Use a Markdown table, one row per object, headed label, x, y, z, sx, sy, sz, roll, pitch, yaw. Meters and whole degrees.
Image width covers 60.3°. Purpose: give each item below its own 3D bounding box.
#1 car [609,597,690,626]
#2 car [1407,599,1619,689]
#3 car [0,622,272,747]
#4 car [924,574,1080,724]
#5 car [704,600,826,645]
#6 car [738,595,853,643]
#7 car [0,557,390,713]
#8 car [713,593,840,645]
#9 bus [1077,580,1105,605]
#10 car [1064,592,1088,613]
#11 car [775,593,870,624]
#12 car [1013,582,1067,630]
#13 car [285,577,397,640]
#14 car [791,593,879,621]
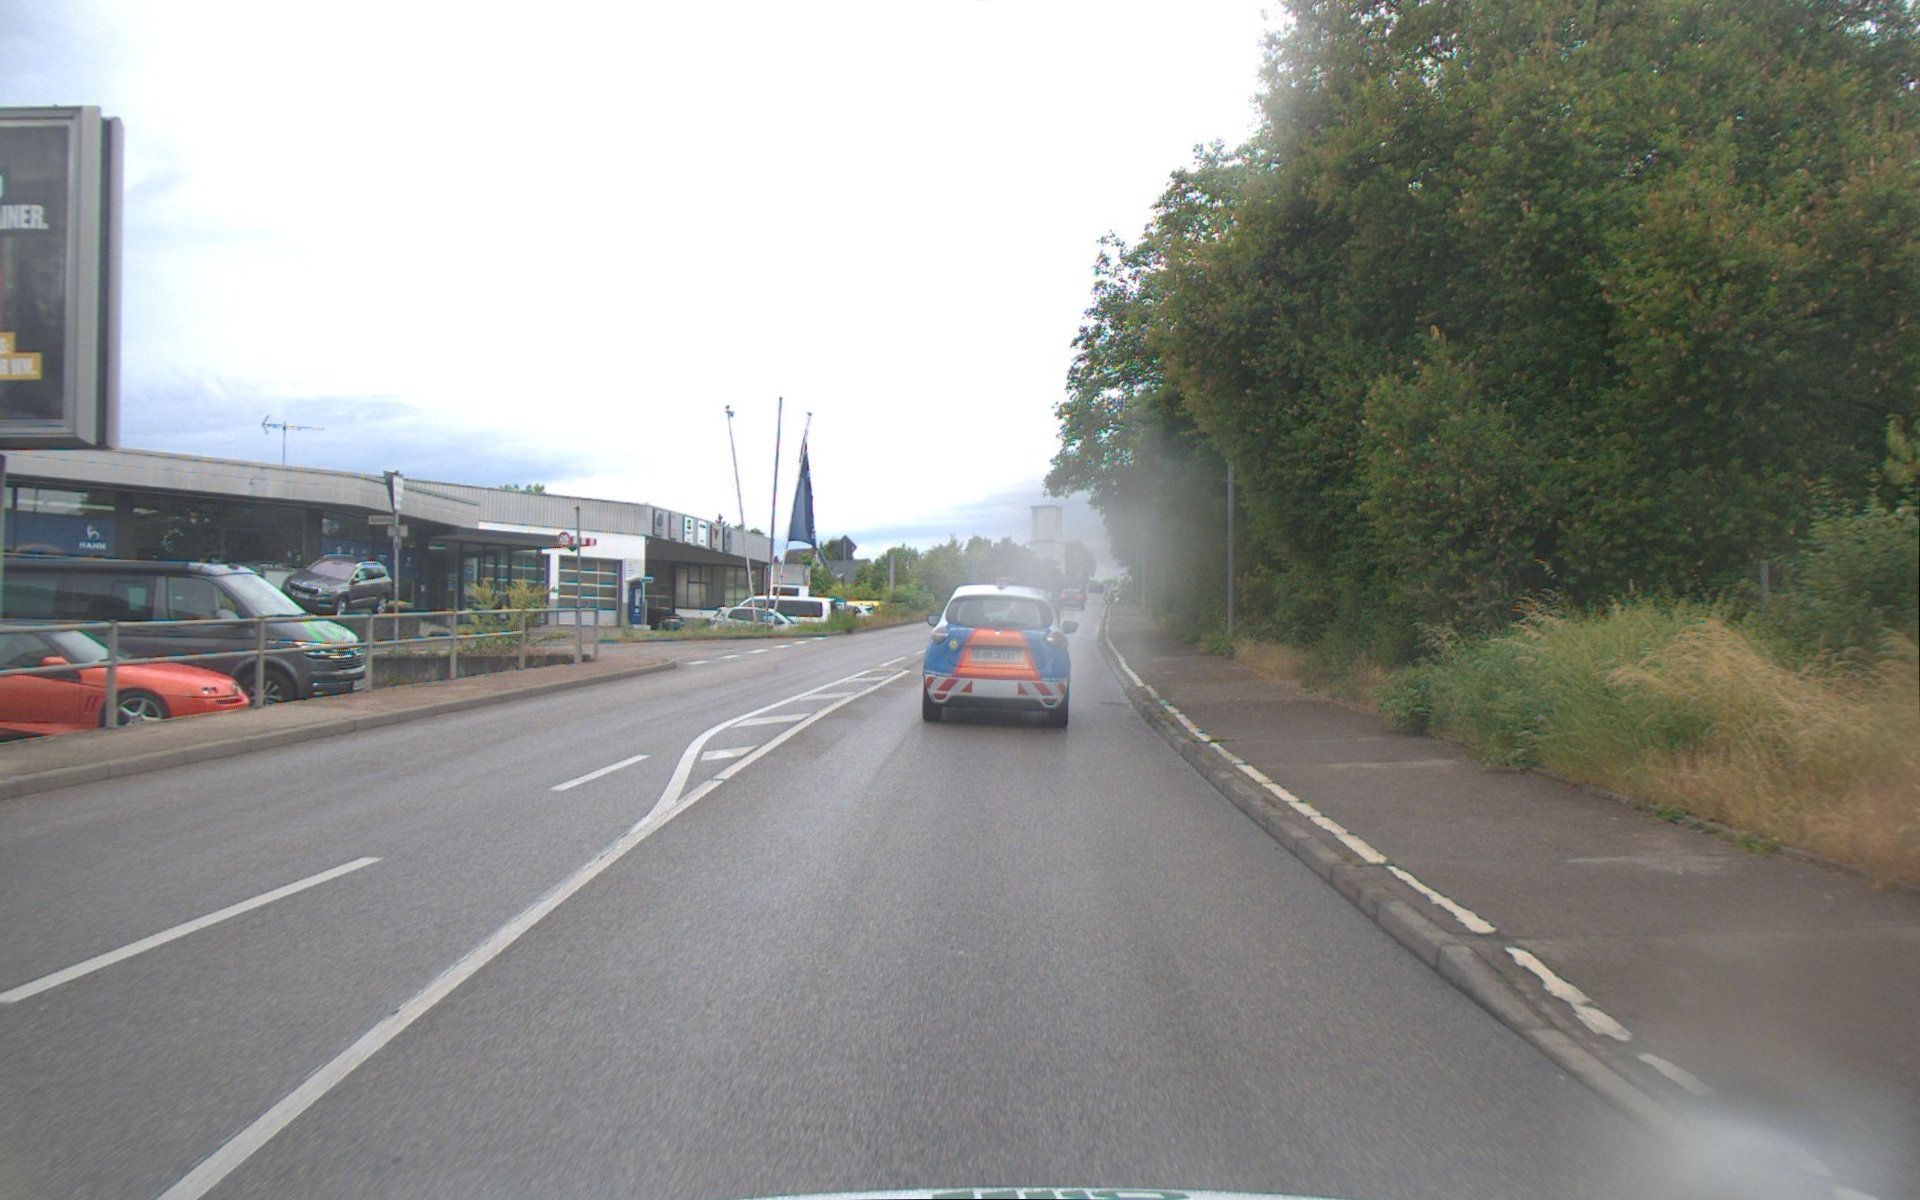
| label | x | y | z | sx | sy | sz | roll | pitch | yaw |
| --- | --- | --- | --- | --- | --- | --- | --- | --- | --- |
| car | -15.734 | 0.560 | 83.792 | 3.946 | 1.441 | 1.944 | 0 | 1 | 39 |
| car | 9.182 | 0.690 | 27.447 | 3.104 | 1.408 | 1.680 | 0 | 0 | -27 |
| car | -10.015 | 0.912 | 18.415 | 4.015 | 1.290 | 1.766 | 0 | 0 | -8 |
| car | 0.586 | 0.562 | 19.908 | 1.622 | 1.621 | 3.570 | 1 | -1 | 5 |
| car | -6.759 | 0.770 | 57.635 | 3.925 | 1.504 | 1.825 | 0 | 0 | 3 |
| car | -6.509 | 0.739 | 65.894 | 4.321 | 1.829 | 2.003 | 0 | 0 | 1 |
| car | -10.194 | 0.431 | 21.442 | 4.967 | 1.903 | 1.821 | 0 | 0 | -4 |
| car | -6.660 | 0.681 | 60.235 | 4.319 | 1.829 | 1.935 | 0 | 0 | 3 |
| bus | 17.762 | -0.927 | 224.454 | 2.851 | 3.225 | 11.466 | -1 | 0 | 0 |
| car | 8.134 | 0.207 | 115.788 | 1.580 | 1.432 | 3.498 | -1 | 0 | 3 |
| car | -6.316 | 0.377 | 76.230 | 4.138 | 1.392 | 1.875 | 0 | 0 | 1 |
| car | 2.798 | 0.209 | 58.623 | 1.765 | 1.618 | 3.563 | -1 | 0 | 1 |
| car | -18.861 | 0.263 | 50.566 | 1.369 | 1.831 | 4.254 | -1 | 0 | 7 |
| car | -5.939 | 0.322 | 78.853 | 3.978 | 1.313 | 1.805 | 0 | 0 | 1 |
